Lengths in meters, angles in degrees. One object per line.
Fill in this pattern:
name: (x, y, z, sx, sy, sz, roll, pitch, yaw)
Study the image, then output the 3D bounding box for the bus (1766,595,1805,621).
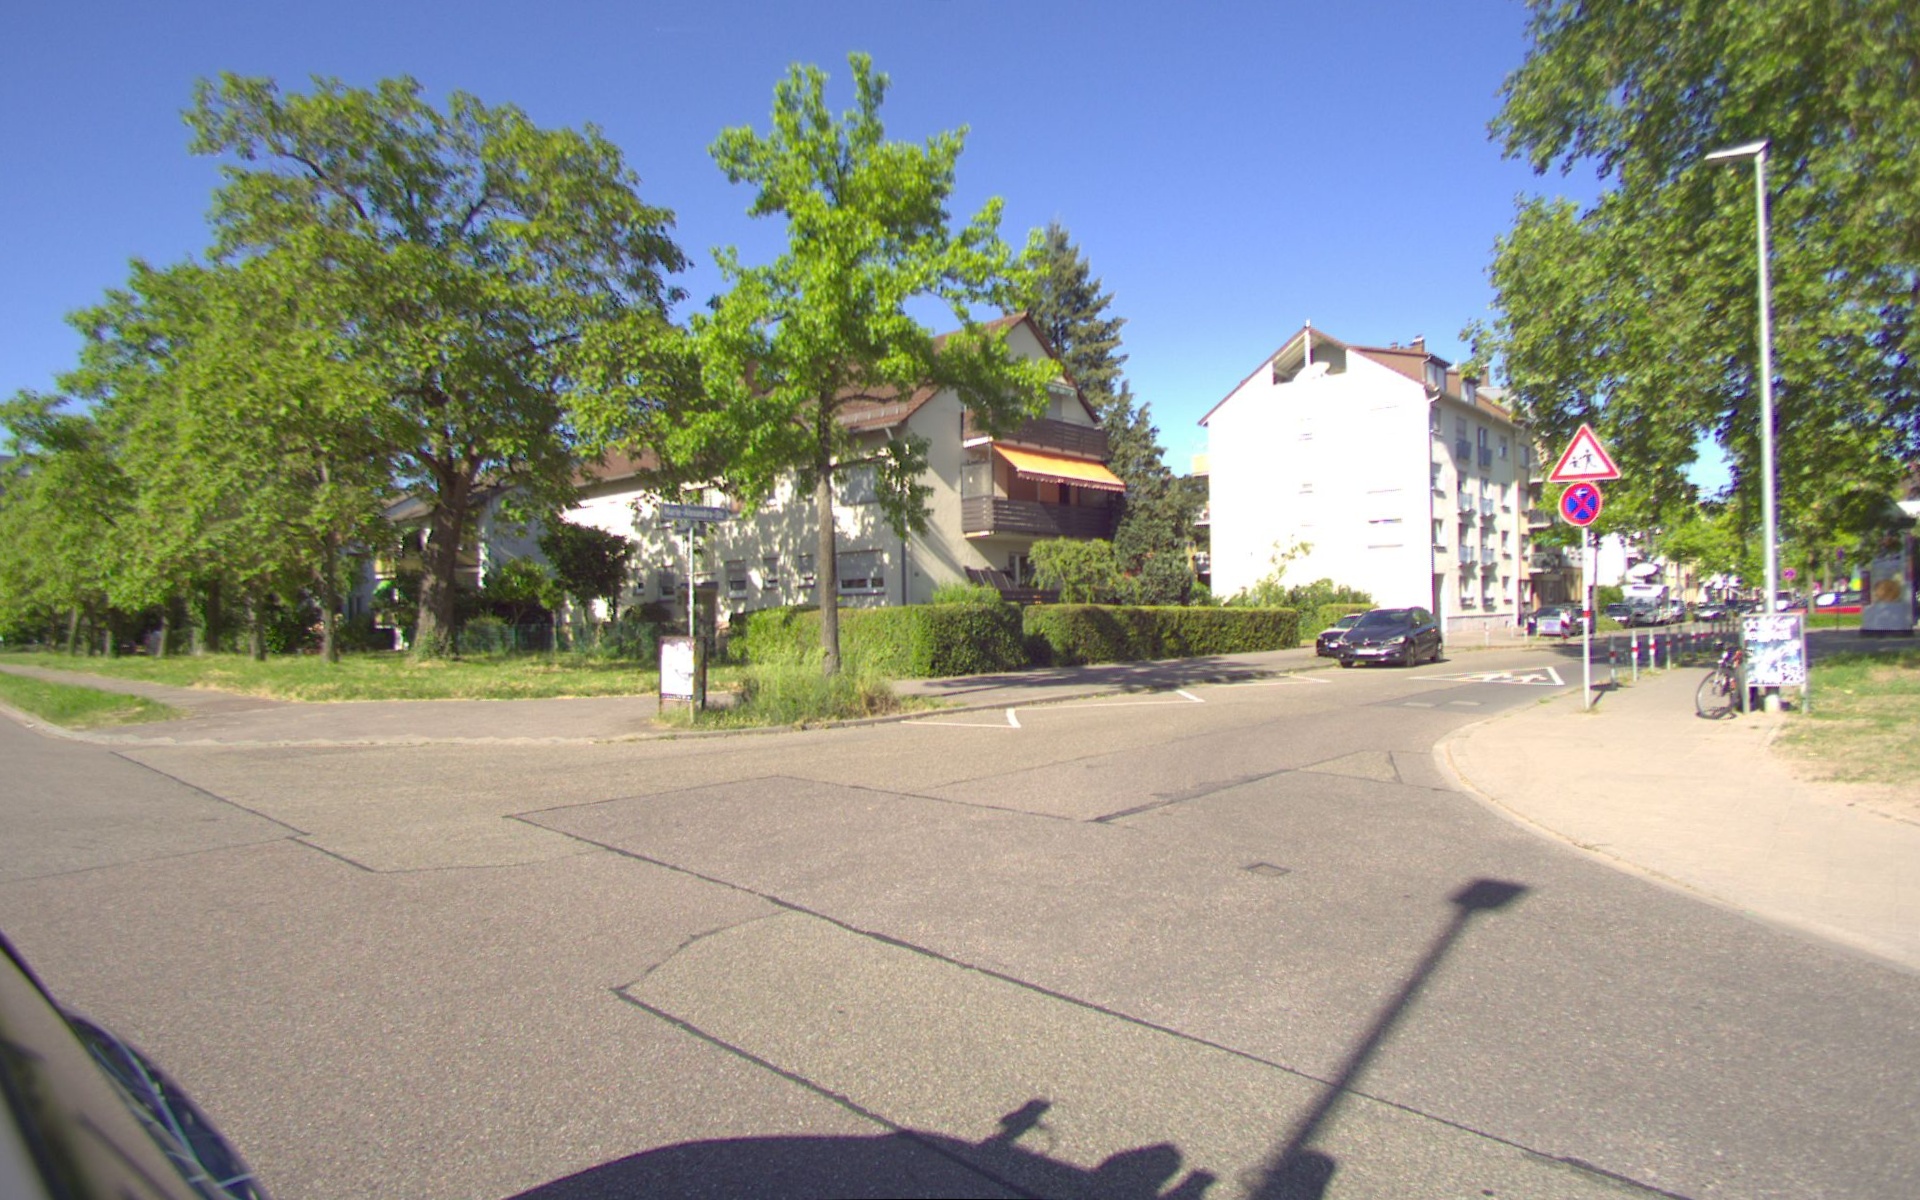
bus: (90.079, 0.834, 110.351, 2.798, 2.528, 10.051, -2, 0, 42)

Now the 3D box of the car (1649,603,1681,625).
car: (56.295, 1.122, 80.817, 1.996, 1.684, 3.952, -2, -1, 36)

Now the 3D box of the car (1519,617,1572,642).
car: (29.063, 1.466, 50.205, 1.538, 1.202, 3.946, -2, -2, 41)

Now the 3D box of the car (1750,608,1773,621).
car: (112.380, 2.054, 141.912, 3.941, 1.763, 2.001, 0, -1, -44)

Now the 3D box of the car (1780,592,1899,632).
car: (47.165, 0.643, 54.326, 4.681, 2.029, 1.971, -2, -1, 44)

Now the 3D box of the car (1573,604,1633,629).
car: (52.933, 1.358, 83.424, 1.968, 2.029, 4.008, -1, -1, -9)

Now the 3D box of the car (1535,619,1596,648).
car: (26.105, 1.436, 43.585, 1.538, 1.202, 3.946, -2, -2, 41)

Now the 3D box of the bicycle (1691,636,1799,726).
bicycle: (9.829, 0.990, 12.655, 1.574, 0.992, 0.501, -2, -2, -32)

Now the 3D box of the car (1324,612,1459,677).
car: (11.531, 1.162, 26.900, 2.115, 1.469, 4.054, -5, -2, 40)

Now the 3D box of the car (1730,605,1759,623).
car: (84.249, 1.493, 108.638, 2.000, 1.763, 3.943, -2, -2, 44)

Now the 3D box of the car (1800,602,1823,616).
car: (111.686, 1.155, 132.766, 2.000, 1.763, 3.943, -2, -2, 44)

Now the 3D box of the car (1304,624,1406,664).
car: (12.203, 1.324, 31.159, 1.630, 1.039, 3.967, -2, 0, 42)

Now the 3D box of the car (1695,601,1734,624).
car: (60.039, 0.963, 80.535, 2.000, 1.763, 3.943, -2, -2, 44)
